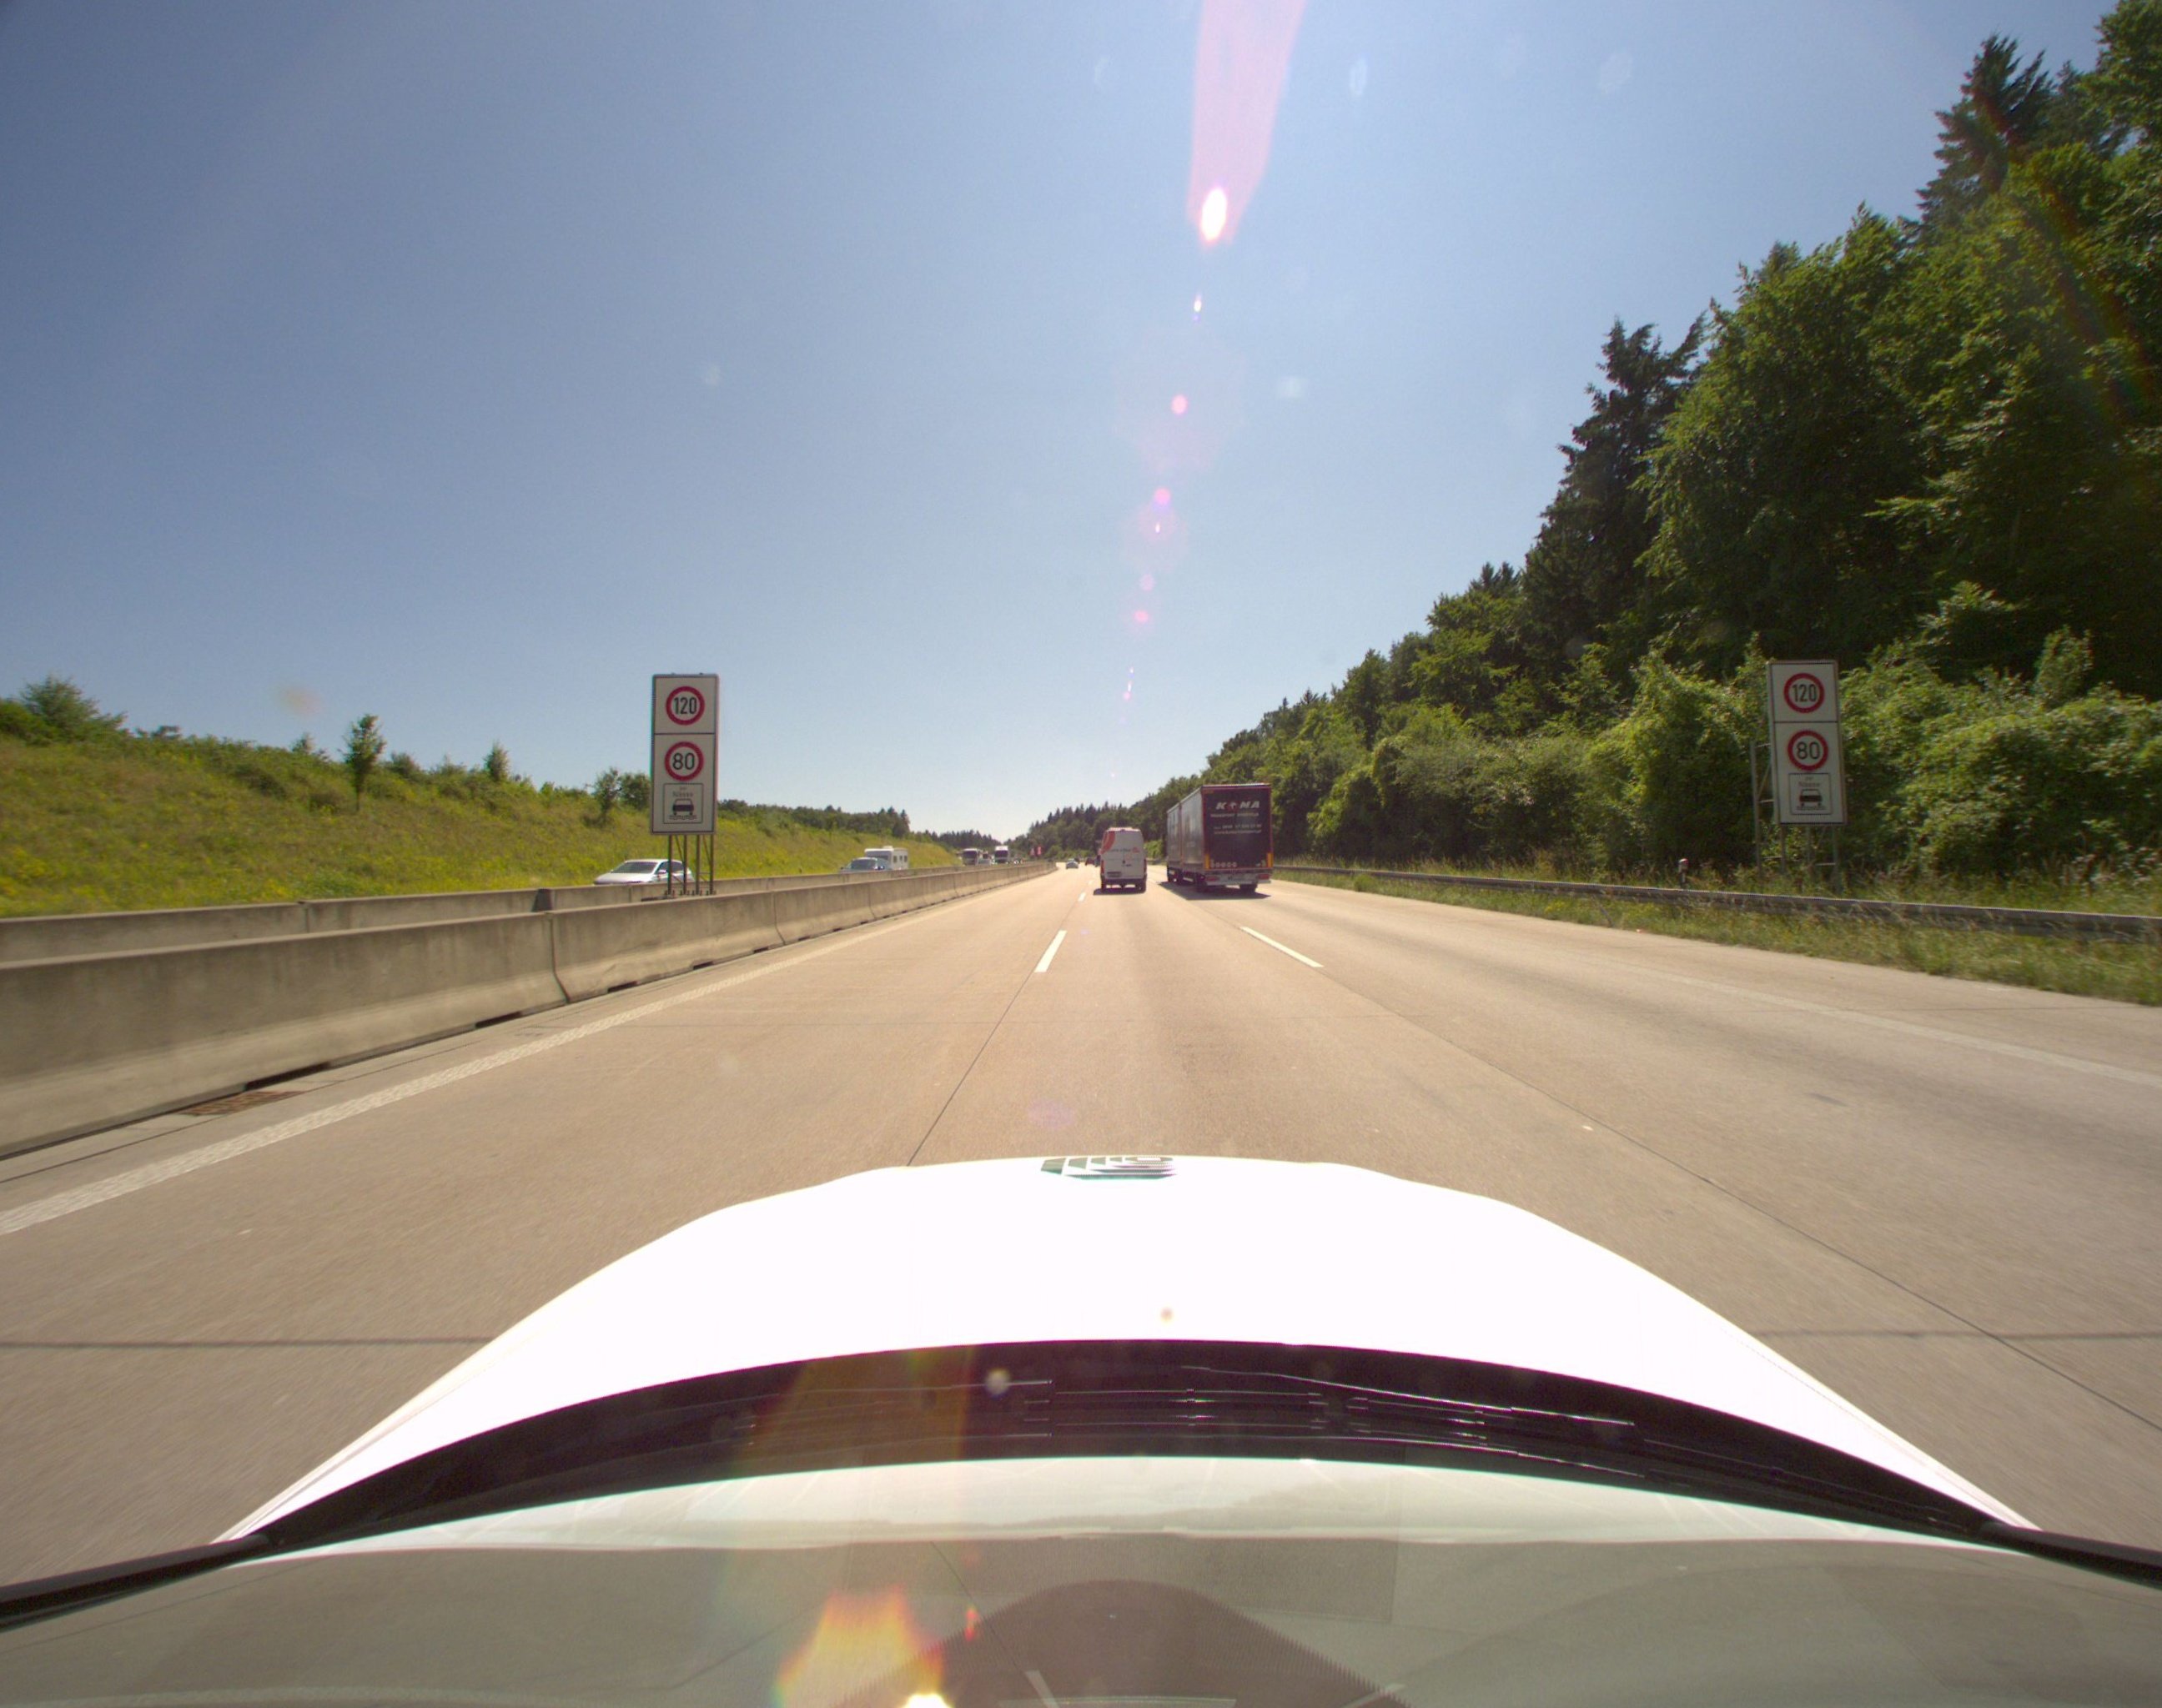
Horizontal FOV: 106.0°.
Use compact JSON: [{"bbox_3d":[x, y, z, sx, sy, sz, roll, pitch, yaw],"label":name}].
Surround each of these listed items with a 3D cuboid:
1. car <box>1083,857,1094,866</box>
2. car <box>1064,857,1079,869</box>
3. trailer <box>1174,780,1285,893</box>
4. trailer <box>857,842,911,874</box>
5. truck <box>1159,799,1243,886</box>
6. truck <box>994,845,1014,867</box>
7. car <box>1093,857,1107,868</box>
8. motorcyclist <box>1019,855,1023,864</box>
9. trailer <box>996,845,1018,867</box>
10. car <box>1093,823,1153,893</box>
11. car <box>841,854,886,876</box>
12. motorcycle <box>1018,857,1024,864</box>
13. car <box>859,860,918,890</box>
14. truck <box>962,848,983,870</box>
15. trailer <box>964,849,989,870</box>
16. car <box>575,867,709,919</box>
[{"bbox_3d":[1.450,1.429,161.377,1.985,1.684,4.003,0,-1,3],"label":"car"},{"bbox_3d":[-1.382,1.317,119.749,1.986,1.684,4.001,0,-1,1],"label":"car"},{"bbox_3d":[5.874,-0.606,33.898,3.123,4.017,9.091,-2,0,2],"label":"trailer"},{"bbox_3d":[-17.000,0.323,70.900,2.596,2.631,7.784,0,0,2],"label":"trailer"},{"bbox_3d":[6.161,-0.519,43.742,3.148,4.017,10.611,-2,0,2],"label":"truck"},{"bbox_3d":[-13.947,0.410,148.021,3.151,3.932,5.834,0,-1,-1],"label":"truck"},{"bbox_3d":[3.048,1.310,128.998,1.985,1.684,4.003,0,-1,3],"label":"car"},{"bbox_3d":[-13.933,1.271,189.852,0.816,1.873,1.492,-1,-1,0],"label":"motorcyclist"},{"bbox_3d":[-14.001,0.474,155.196,3.151,3.932,13.861,0,-1,0],"label":"trailer"},{"bbox_3d":[1.762,0.144,36.299,2.220,2.844,5.451,-1,0,-1],"label":"car"},{"bbox_3d":[-17.097,0.815,64.269,1.986,1.659,5.376,0,0,2],"label":"car"},{"bbox_3d":[-13.958,1.437,189.832,1.004,1.549,2.483,-1,0,0],"label":"motorcycle"},{"bbox_3d":[-10.053,1.064,42.793,1.986,1.519,4.002,0,0,2],"label":"car"},{"bbox_3d":[-17.673,0.868,132.527,2.715,3.413,4.513,0,-1,1],"label":"truck"},{"bbox_3d":[-17.544,0.940,137.284,2.715,3.413,8.957,0,-1,1],"label":"trailer"},{"bbox_3d":[-14.718,1.242,27.652,1.986,1.558,4.500,0,0,2],"label":"car"}]
